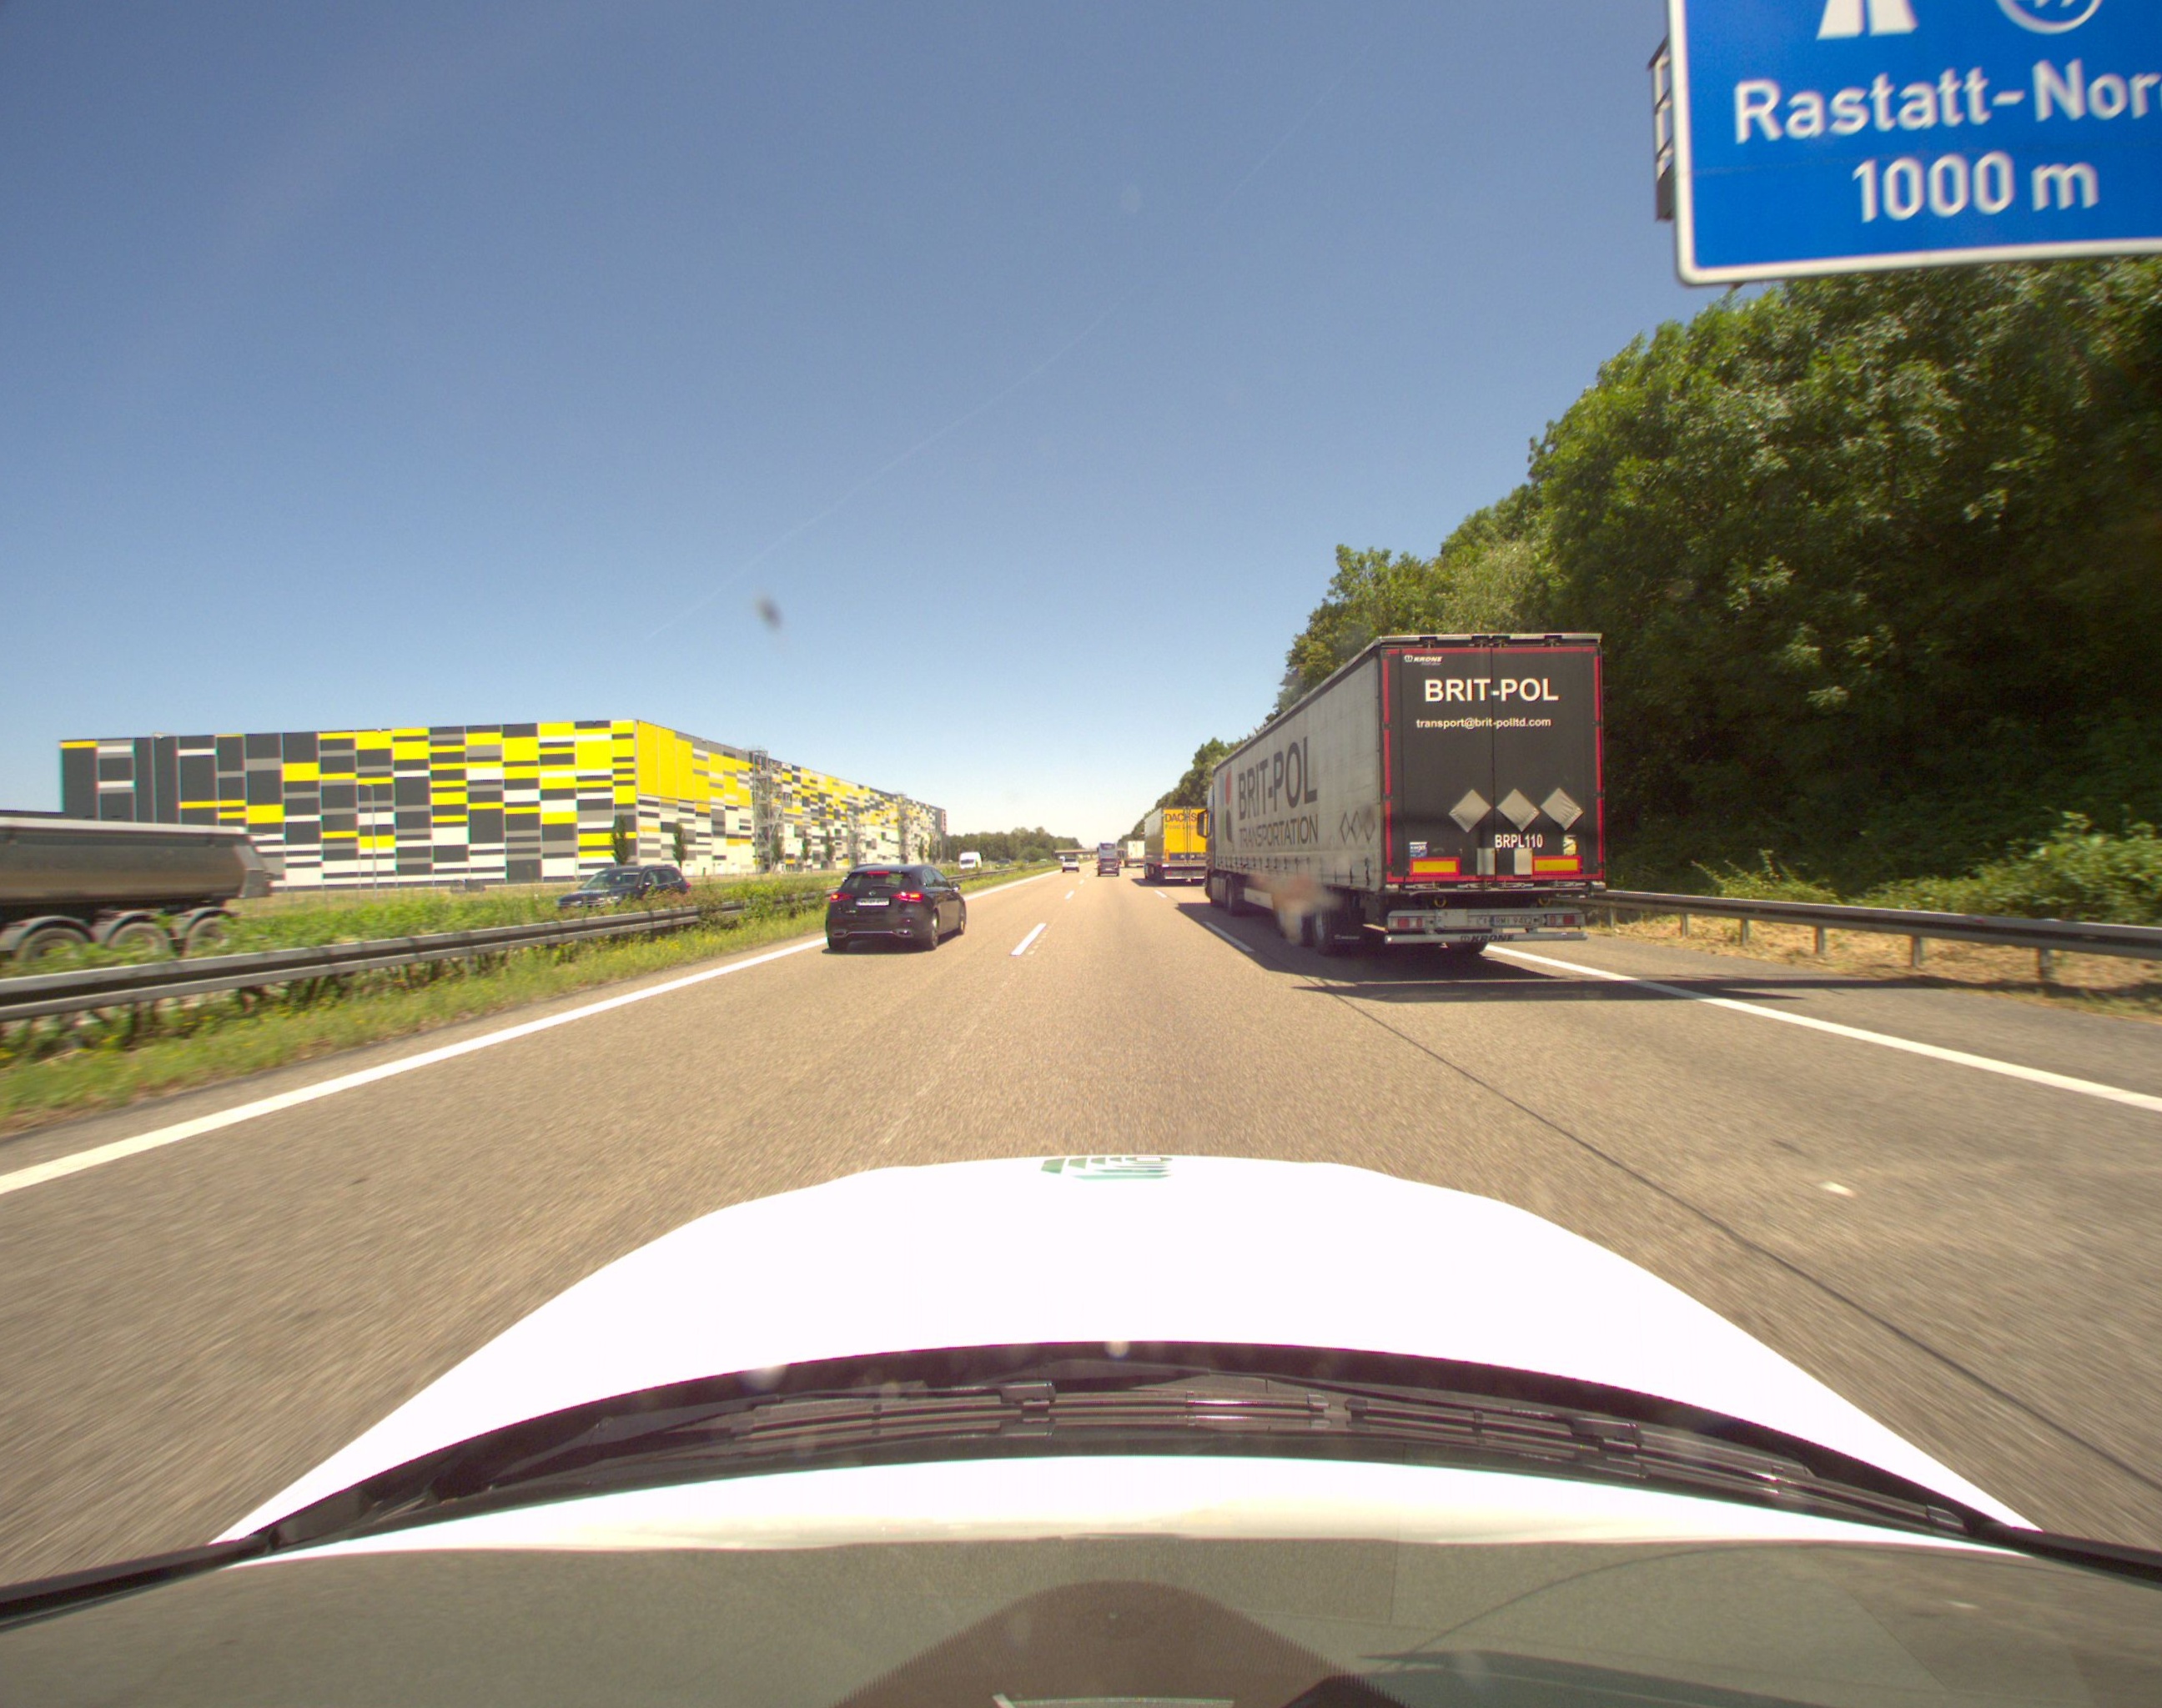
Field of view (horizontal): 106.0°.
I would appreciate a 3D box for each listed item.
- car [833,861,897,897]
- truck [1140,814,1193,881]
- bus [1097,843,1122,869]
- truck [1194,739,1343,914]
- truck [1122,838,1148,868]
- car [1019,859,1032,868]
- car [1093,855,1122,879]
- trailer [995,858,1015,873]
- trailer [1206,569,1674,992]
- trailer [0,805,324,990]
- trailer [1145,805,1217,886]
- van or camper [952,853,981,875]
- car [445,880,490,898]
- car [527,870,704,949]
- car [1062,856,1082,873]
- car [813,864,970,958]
[{"bbox_3d":[-11.865,1.340,45.050,2.020,1.778,4.844,-2,0,2],"label":"car"},{"bbox_3d":[5.495,-0.386,53.574,2.803,4.006,6.646,-2,0,1],"label":"truck"},{"bbox_3d":[3.794,0.239,111.155,3.052,3.326,8.273,-2,0,0],"label":"bus"},{"bbox_3d":[5.196,-0.669,23.796,3.076,4.441,6.055,-1,-1,2],"label":"truck"},{"bbox_3d":[7.923,-0.146,119.841,3.409,4.126,9.570,-3,0,2],"label":"truck"},{"bbox_3d":[-12.039,2.129,176.412,2.308,1.815,5.353,-3,0,2],"label":"car"},{"bbox_3d":[2.177,1.019,67.101,2.208,1.790,5.394,-2,0,1],"label":"car"},{"bbox_3d":[-9.842,1.470,105.282,1.987,1.758,4.858,-2,0,1],"label":"trailer"},{"bbox_3d":[4.989,-0.737,16.212,3.094,4.507,14.900,-1,-1,2],"label":"trailer"},{"bbox_3d":[-20.214,0.815,15.517,2.665,3.238,9.261,-2,-1,2],"label":"trailer"},{"bbox_3d":[5.367,-0.403,45.835,2.824,3.954,11.686,-1,0,1],"label":"trailer"},{"bbox_3d":[-13.987,1.250,99.920,2.413,2.534,6.176,-4,-1,1],"label":"van or camper"},{"bbox_3d":[-66.532,3.794,88.339,1.679,1.727,4.112,-2,0,0],"label":"car"},{"bbox_3d":[-12.241,1.380,21.858,1.862,1.742,4.723,-2,0,2],"label":"car"},{"bbox_3d":[-0.982,1.135,86.800,1.987,1.728,4.131,-1,0,1],"label":"car"},{"bbox_3d":[-3.234,0.917,14.737,1.785,1.412,4.053,-1,0,1],"label":"car"}]
